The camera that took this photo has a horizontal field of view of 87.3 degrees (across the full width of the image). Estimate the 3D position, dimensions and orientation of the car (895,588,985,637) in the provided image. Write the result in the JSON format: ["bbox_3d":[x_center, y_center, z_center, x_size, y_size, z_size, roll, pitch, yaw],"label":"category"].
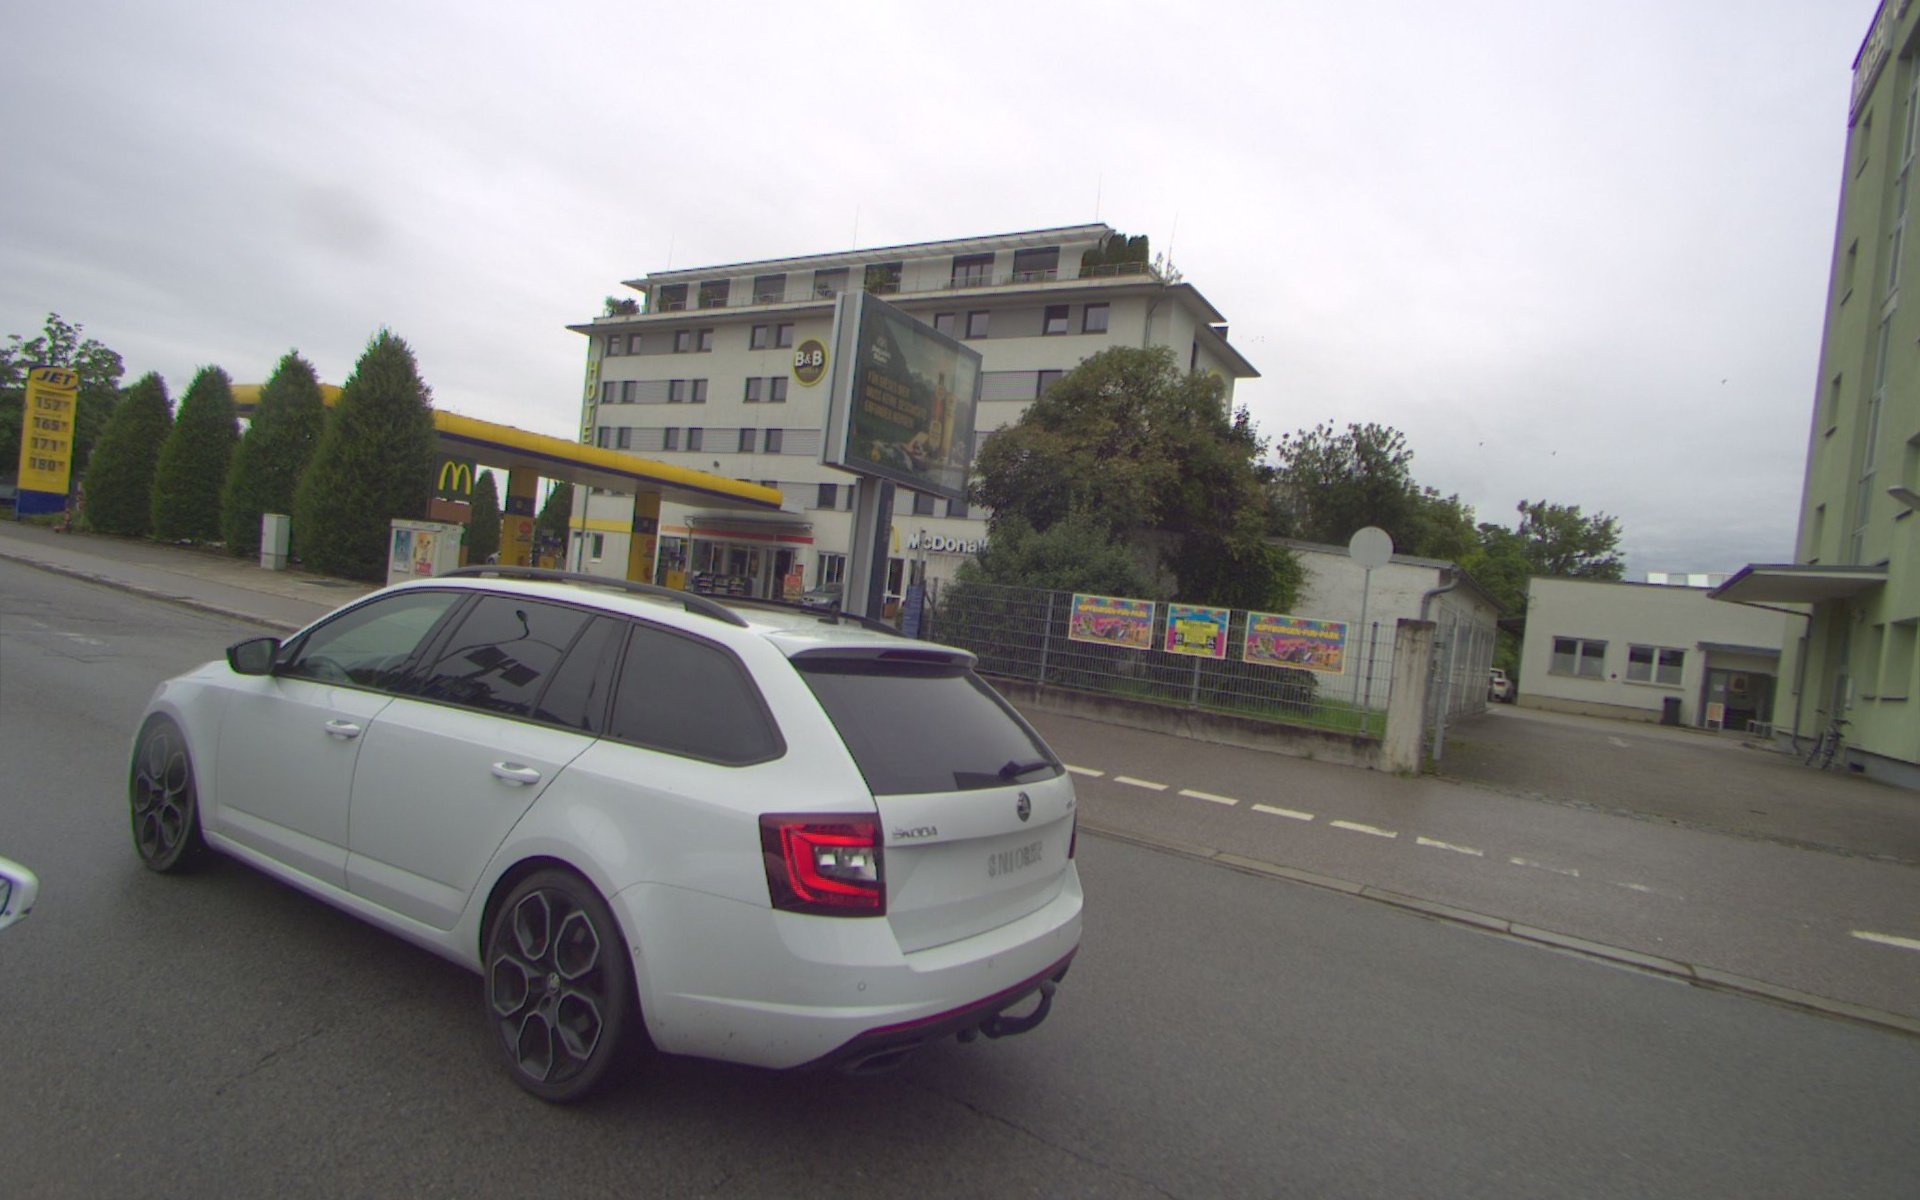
[{"bbox_3d":[-0.756,0.534,41.041,1.678,1.606,3.992,7,0,30],"label":"car"}]

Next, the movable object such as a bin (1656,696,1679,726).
[{"bbox_3d":[26.494,4.152,37.668,0.563,1.005,0.700,7,0,32],"label":"movable object such as a bin"}]

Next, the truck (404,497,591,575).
[{"bbox_3d":[-31.753,-4.285,69.857,2.569,3.904,11.899,7,0,35],"label":"truck"}]

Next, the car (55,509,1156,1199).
[{"bbox_3d":[-1.677,0.630,4.254,4.426,1.485,1.881,7,-1,31],"label":"car"}]

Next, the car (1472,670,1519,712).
[{"bbox_3d":[23.170,3.920,43.493,1.538,1.538,3.702,7,-1,30],"label":"car"}]

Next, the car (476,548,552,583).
[{"bbox_3d":[-25.815,-1.999,58.185,4.124,1.496,1.906,7,-1,32],"label":"car"}]

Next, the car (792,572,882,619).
[{"bbox_3d":[-5.299,-0.165,43.842,1.678,1.606,3.992,7,0,30],"label":"car"}]

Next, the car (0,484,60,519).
[{"bbox_3d":[-47.765,-5.053,49.896,1.968,1.446,4.251,7,0,35],"label":"car"}]

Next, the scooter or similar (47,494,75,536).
[{"bbox_3d":[-28.859,-2.746,32.294,1.522,1.259,0.355,7,4,37],"label":"scooter or similar"}]

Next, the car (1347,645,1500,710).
[{"bbox_3d":[14.420,2.406,31.356,4.027,1.415,1.767,7,-1,32],"label":"car"}]
